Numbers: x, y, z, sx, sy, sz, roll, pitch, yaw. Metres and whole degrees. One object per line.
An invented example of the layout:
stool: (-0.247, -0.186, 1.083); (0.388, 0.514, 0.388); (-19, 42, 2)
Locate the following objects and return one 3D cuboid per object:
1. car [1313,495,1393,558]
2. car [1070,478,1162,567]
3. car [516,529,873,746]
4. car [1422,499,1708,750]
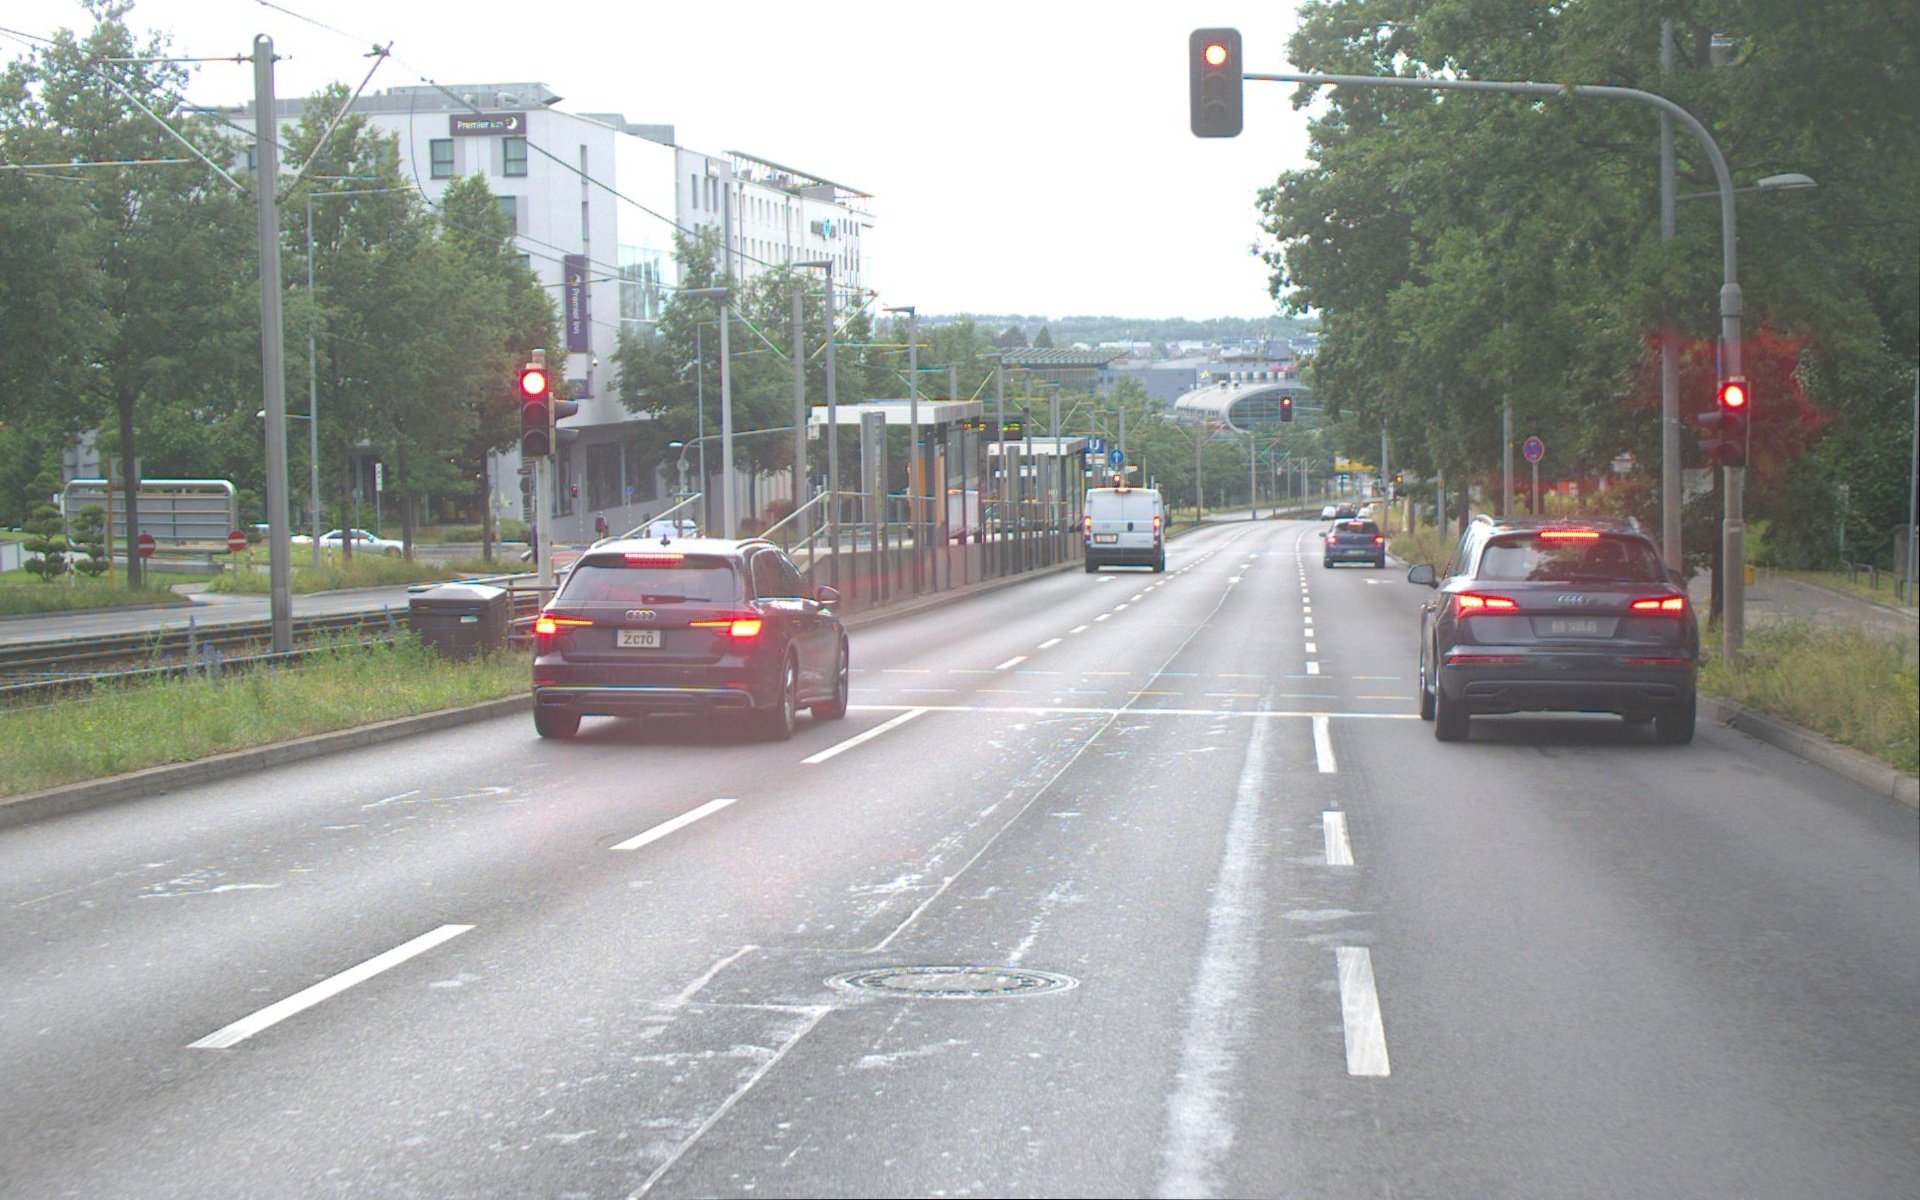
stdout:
car: (11.694, -2.206, 102.571); (2.049, 1.736, 4.574); (1, 3, 3)
car: (4.234, -2.117, 92.718); (2.268, 2.277, 4.759); (1, 3, 5)
car: (-1.840, 0.199, 25.381); (1.786, 1.409, 4.805); (1, 1, 6)
car: (4.540, 0.112, 25.875); (1.923, 1.704, 4.096); (1, 2, 10)
